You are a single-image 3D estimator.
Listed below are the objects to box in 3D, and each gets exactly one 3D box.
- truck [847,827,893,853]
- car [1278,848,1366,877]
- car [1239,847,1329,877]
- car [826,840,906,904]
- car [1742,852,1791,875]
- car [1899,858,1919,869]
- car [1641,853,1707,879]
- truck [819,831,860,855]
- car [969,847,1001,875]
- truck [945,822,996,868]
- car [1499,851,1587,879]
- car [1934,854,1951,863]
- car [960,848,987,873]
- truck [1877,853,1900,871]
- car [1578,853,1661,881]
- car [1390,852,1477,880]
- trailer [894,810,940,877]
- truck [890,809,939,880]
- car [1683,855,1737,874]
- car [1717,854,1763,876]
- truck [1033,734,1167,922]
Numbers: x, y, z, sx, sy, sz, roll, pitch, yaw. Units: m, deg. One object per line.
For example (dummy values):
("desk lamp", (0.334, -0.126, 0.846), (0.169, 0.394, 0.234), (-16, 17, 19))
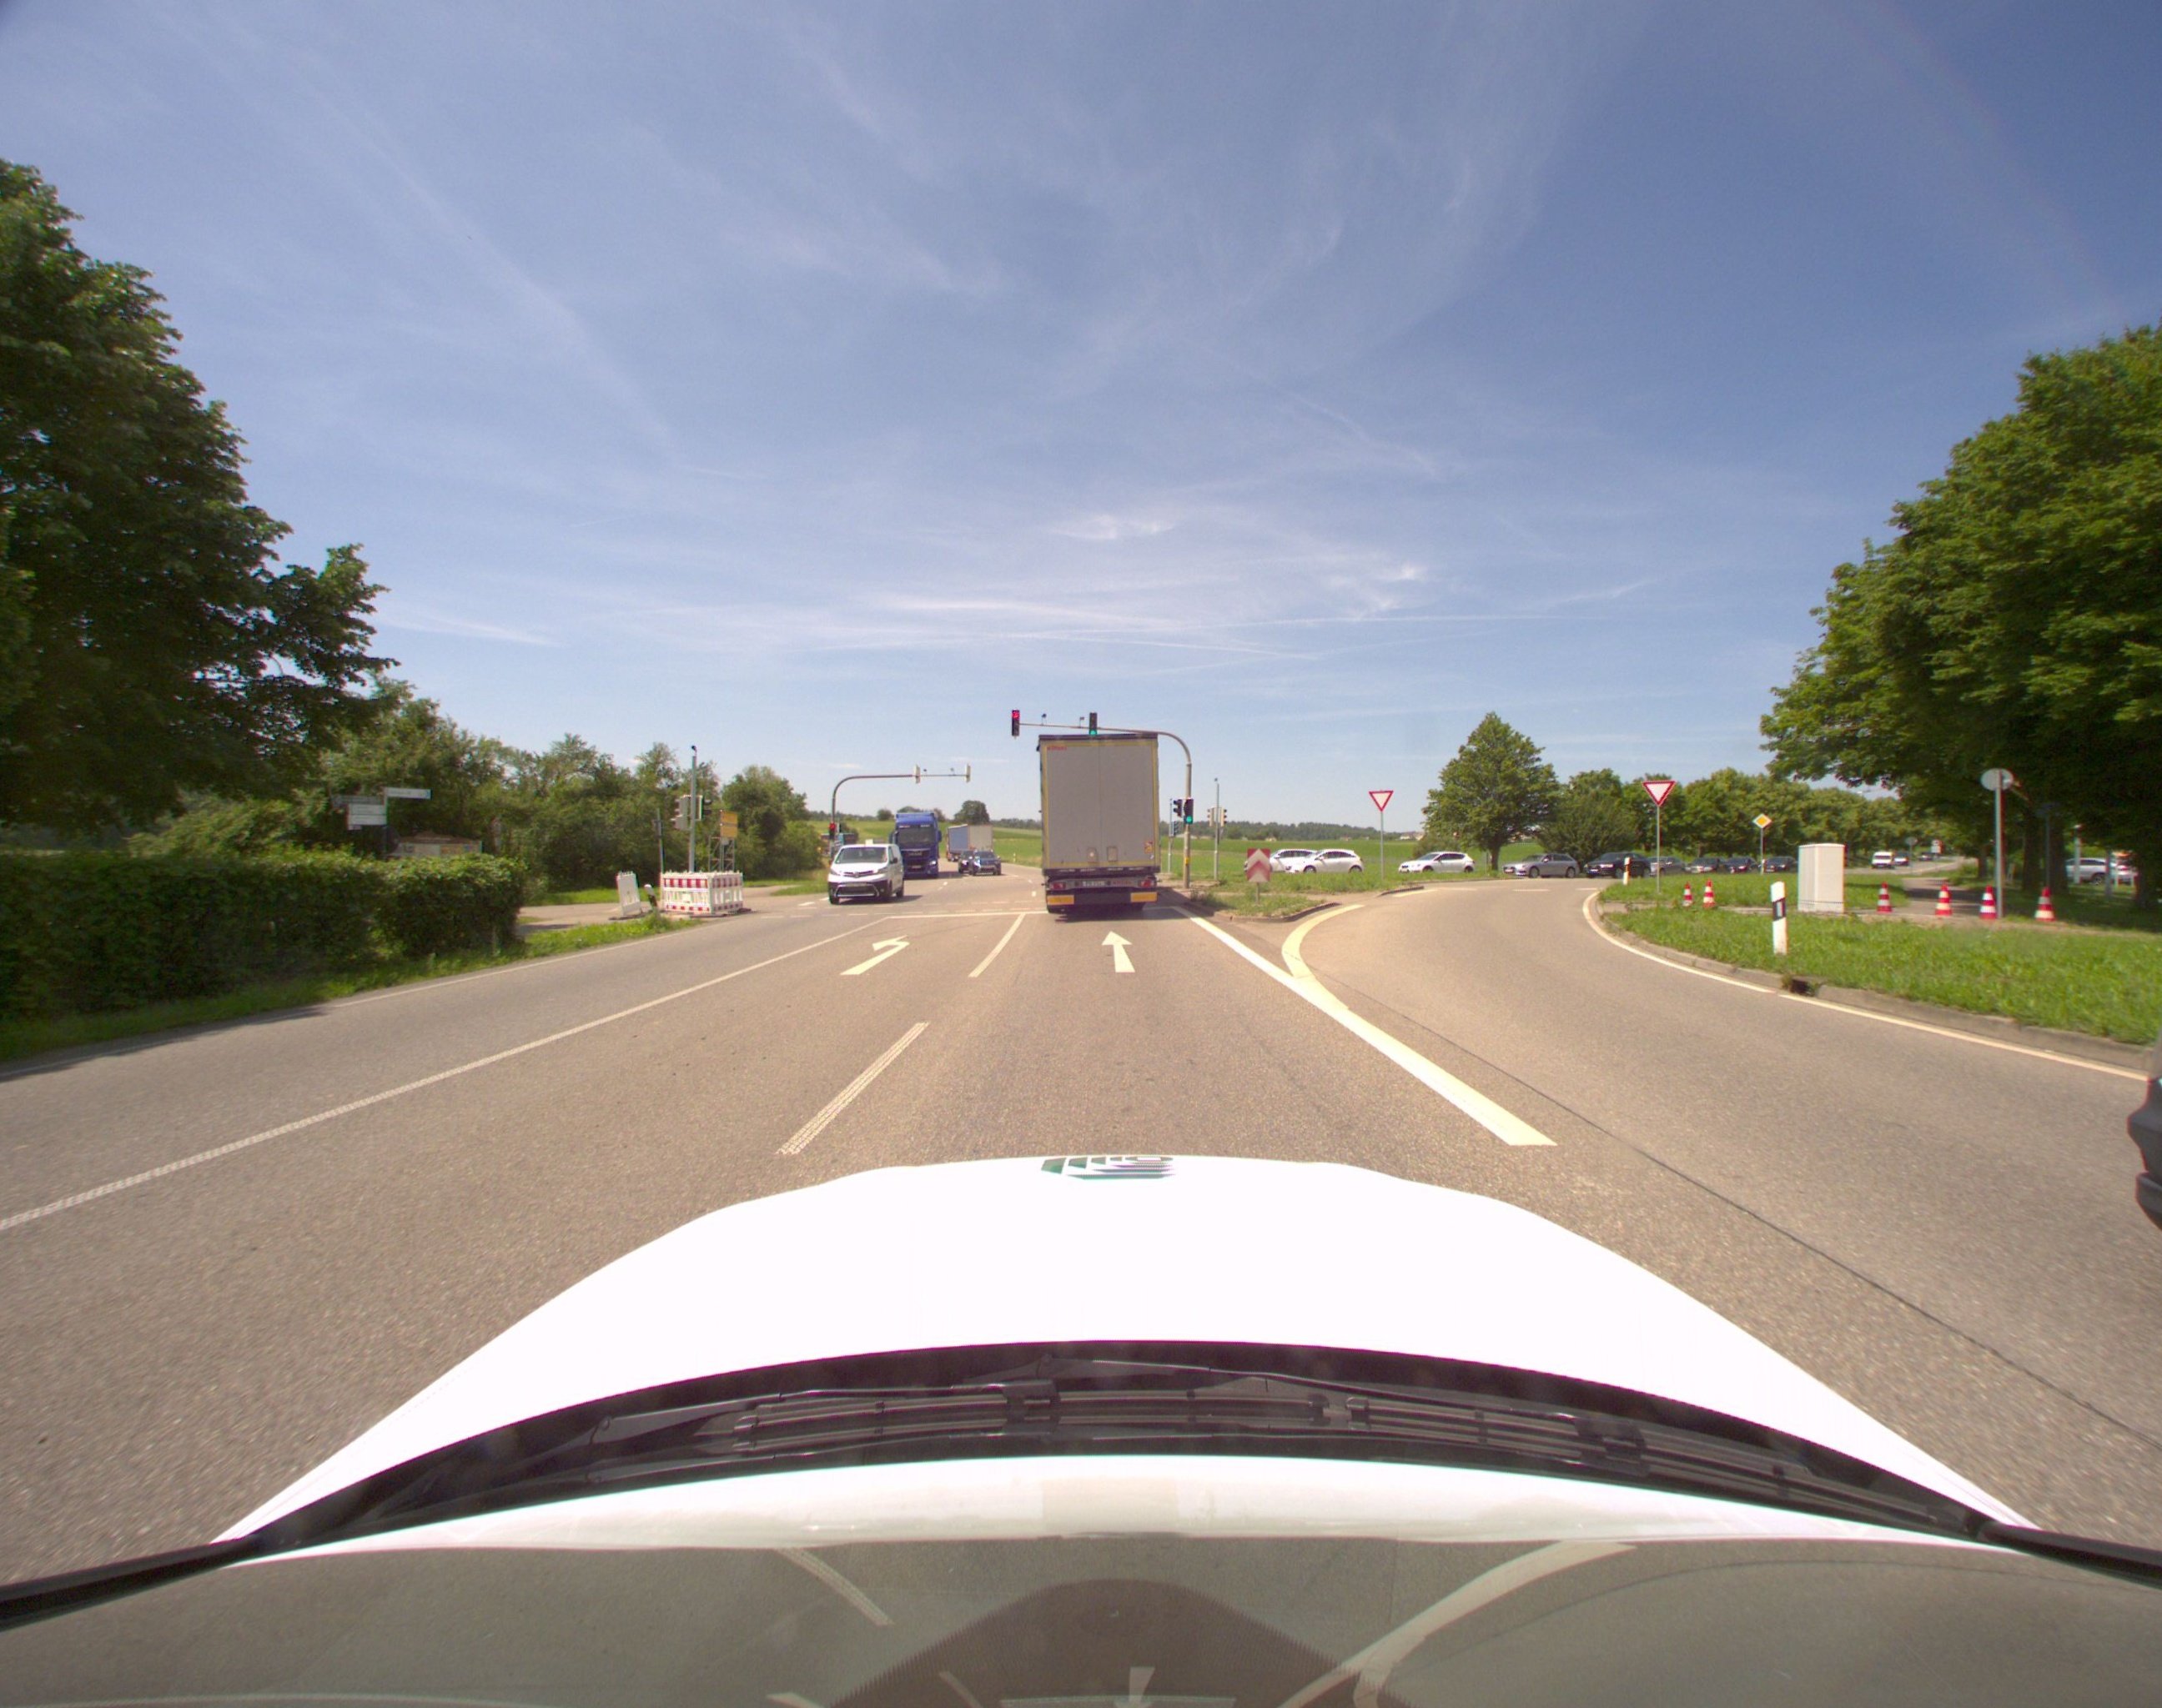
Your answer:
("truck", (-37.550, -2.379, 144.280), (3.664, 4.129, 12.955), (1, -2, -35))
("car", (12.449, 0.458, 42.139), (3.957, 1.419, 1.823), (-1, -1, -8))
("car", (11.460, 0.473, 46.197), (4.615, 1.607, 1.996), (1, -2, -3))
("car", (-7.048, 0.565, 27.187), (1.869, 1.886, 4.939), (-2, 0, -7))
("car", (52.355, 0.751, 62.174), (4.311, 1.698, 1.977), (1, -2, -38))
("car", (134.422, 1.567, 132.262), (4.020, 1.649, 1.976), (1, -2, -40))
("car", (37.175, 0.761, 51.016), (4.578, 1.510, 1.782), (1, -2, -33))
("truck", (-47.023, -2.109, 158.049), (3.555, 4.241, 13.260), (1, -2, -35))
("car", (-6.178, 0.434, 52.074), (1.771, 1.658, 3.986), (-1, 0, -10))
("truck", (-12.406, -0.794, 89.702), (2.968, 4.584, 16.218), (-1, -1, -17))
("car", (25.787, 0.654, 45.478), (4.563, 1.510, 1.788), (1, -2, -21))
("car", (163.386, 0.946, 154.418), (4.020, 1.649, 1.976), (1, -2, -40))
("car", (-7.723, 0.454, 58.123), (1.771, 1.658, 3.987), (-1, 0, -10))
("truck", (116.876, 1.178, 117.916), (4.020, 2.598, 1.976), (1, -2, -40))
("car", (31.356, 0.774, 47.387), (4.565, 1.510, 1.787), (2, -2, -23))
("car", (18.959, 0.639, 43.839), (4.100, 1.419, 1.791), (-1, -1, -16))
("trailer", (-11.139, -0.716, 56.251), (2.566, 4.029, 13.549), (-1, 1, -10))
("truck", (-10.055, -0.581, 49.645), (2.566, 4.029, 6.538), (-1, 1, -10))
("car", (42.544, 0.736, 55.067), (4.583, 1.273, 1.780), (1, -2, -38))
("car", (47.675, 0.789, 58.893), (4.254, 1.510, 1.779), (1, -2, -40))
("truck", (0.272, -0.569, 22.015), (2.800, 3.946, 9.584), (-1, 0, -2))
